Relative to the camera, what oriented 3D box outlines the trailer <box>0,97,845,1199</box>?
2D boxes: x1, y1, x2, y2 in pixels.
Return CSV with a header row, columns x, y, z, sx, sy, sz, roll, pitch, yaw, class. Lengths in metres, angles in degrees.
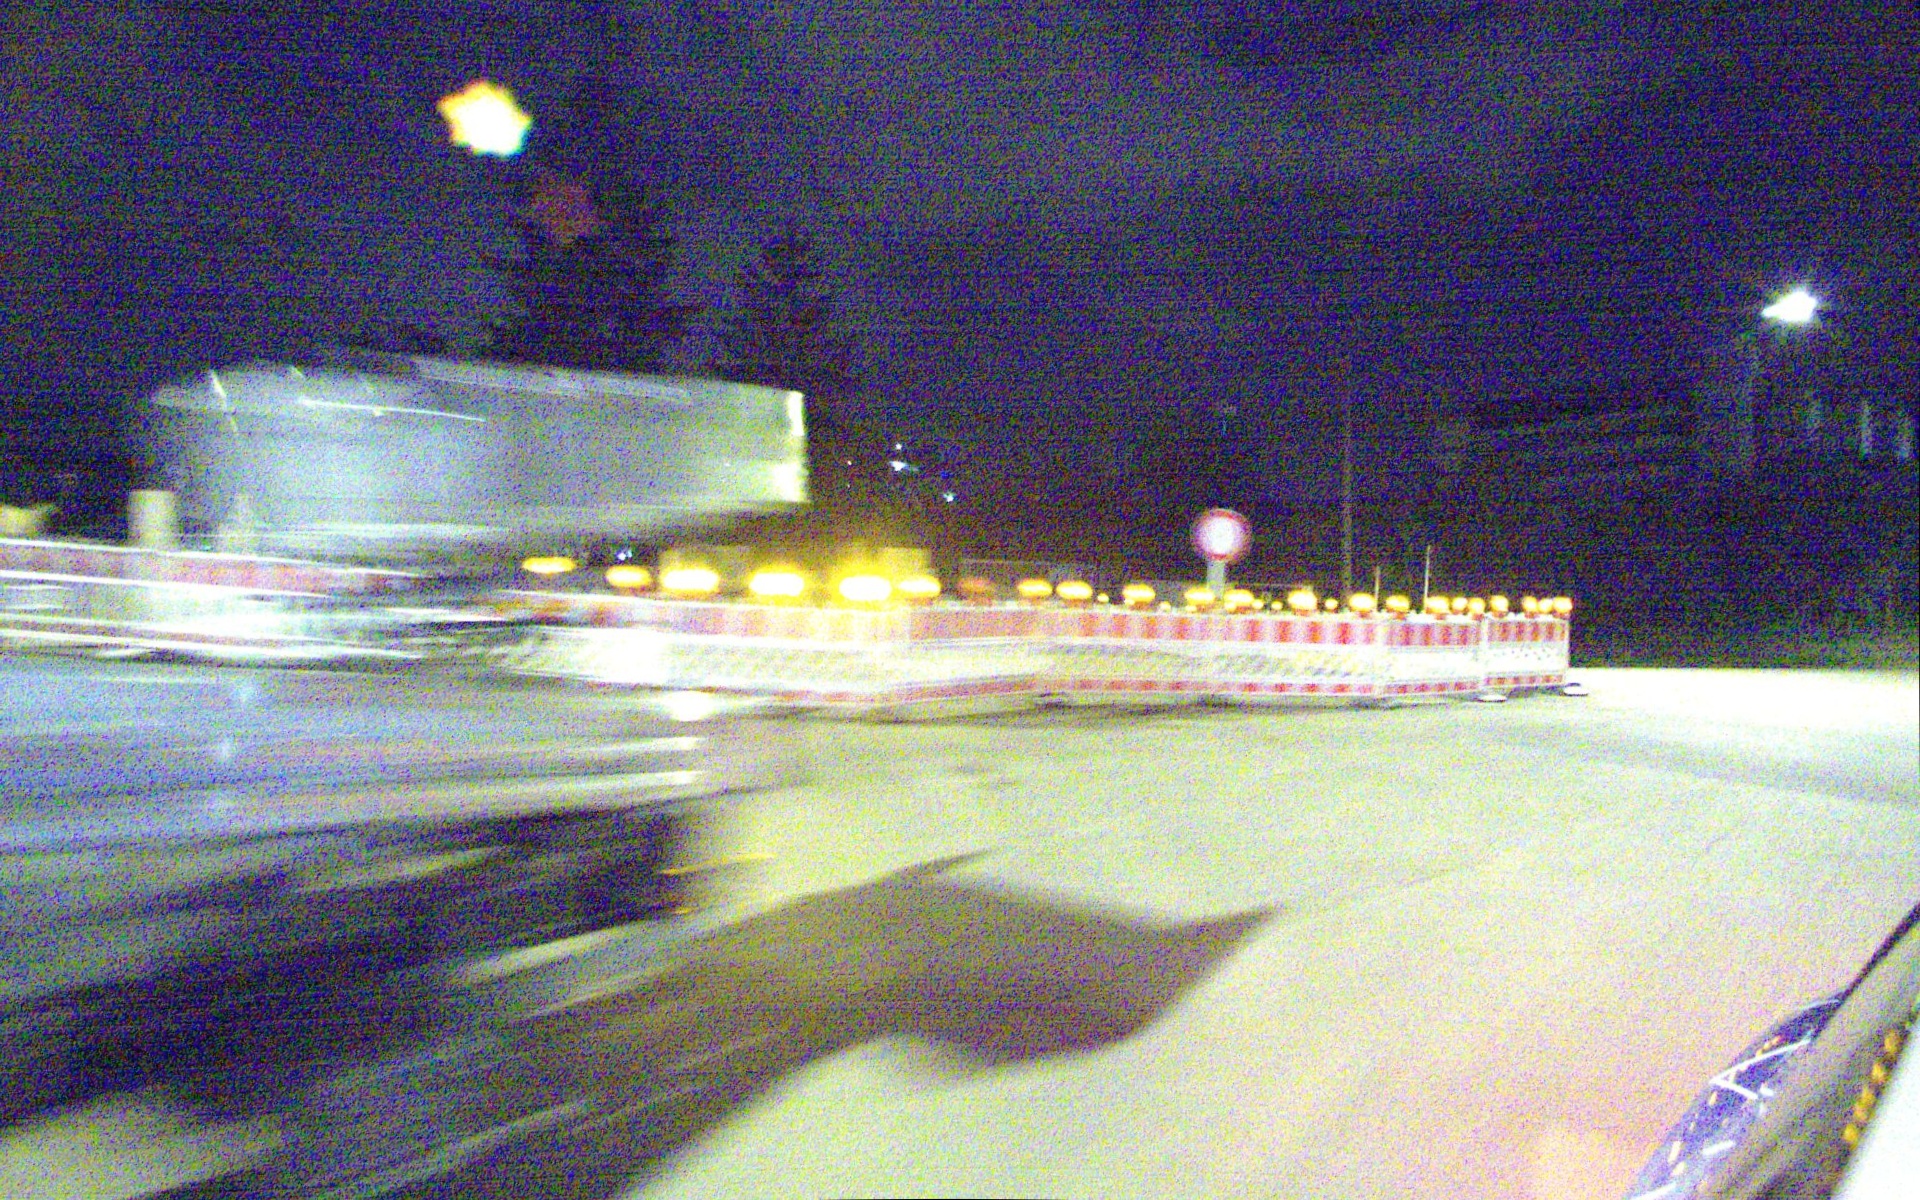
x,y,z,sx,sy,sz,roll,pitch,yaw,class
-2.311,0.256,1.949,1.549,2.187,5.172,1,1,27,trailer
